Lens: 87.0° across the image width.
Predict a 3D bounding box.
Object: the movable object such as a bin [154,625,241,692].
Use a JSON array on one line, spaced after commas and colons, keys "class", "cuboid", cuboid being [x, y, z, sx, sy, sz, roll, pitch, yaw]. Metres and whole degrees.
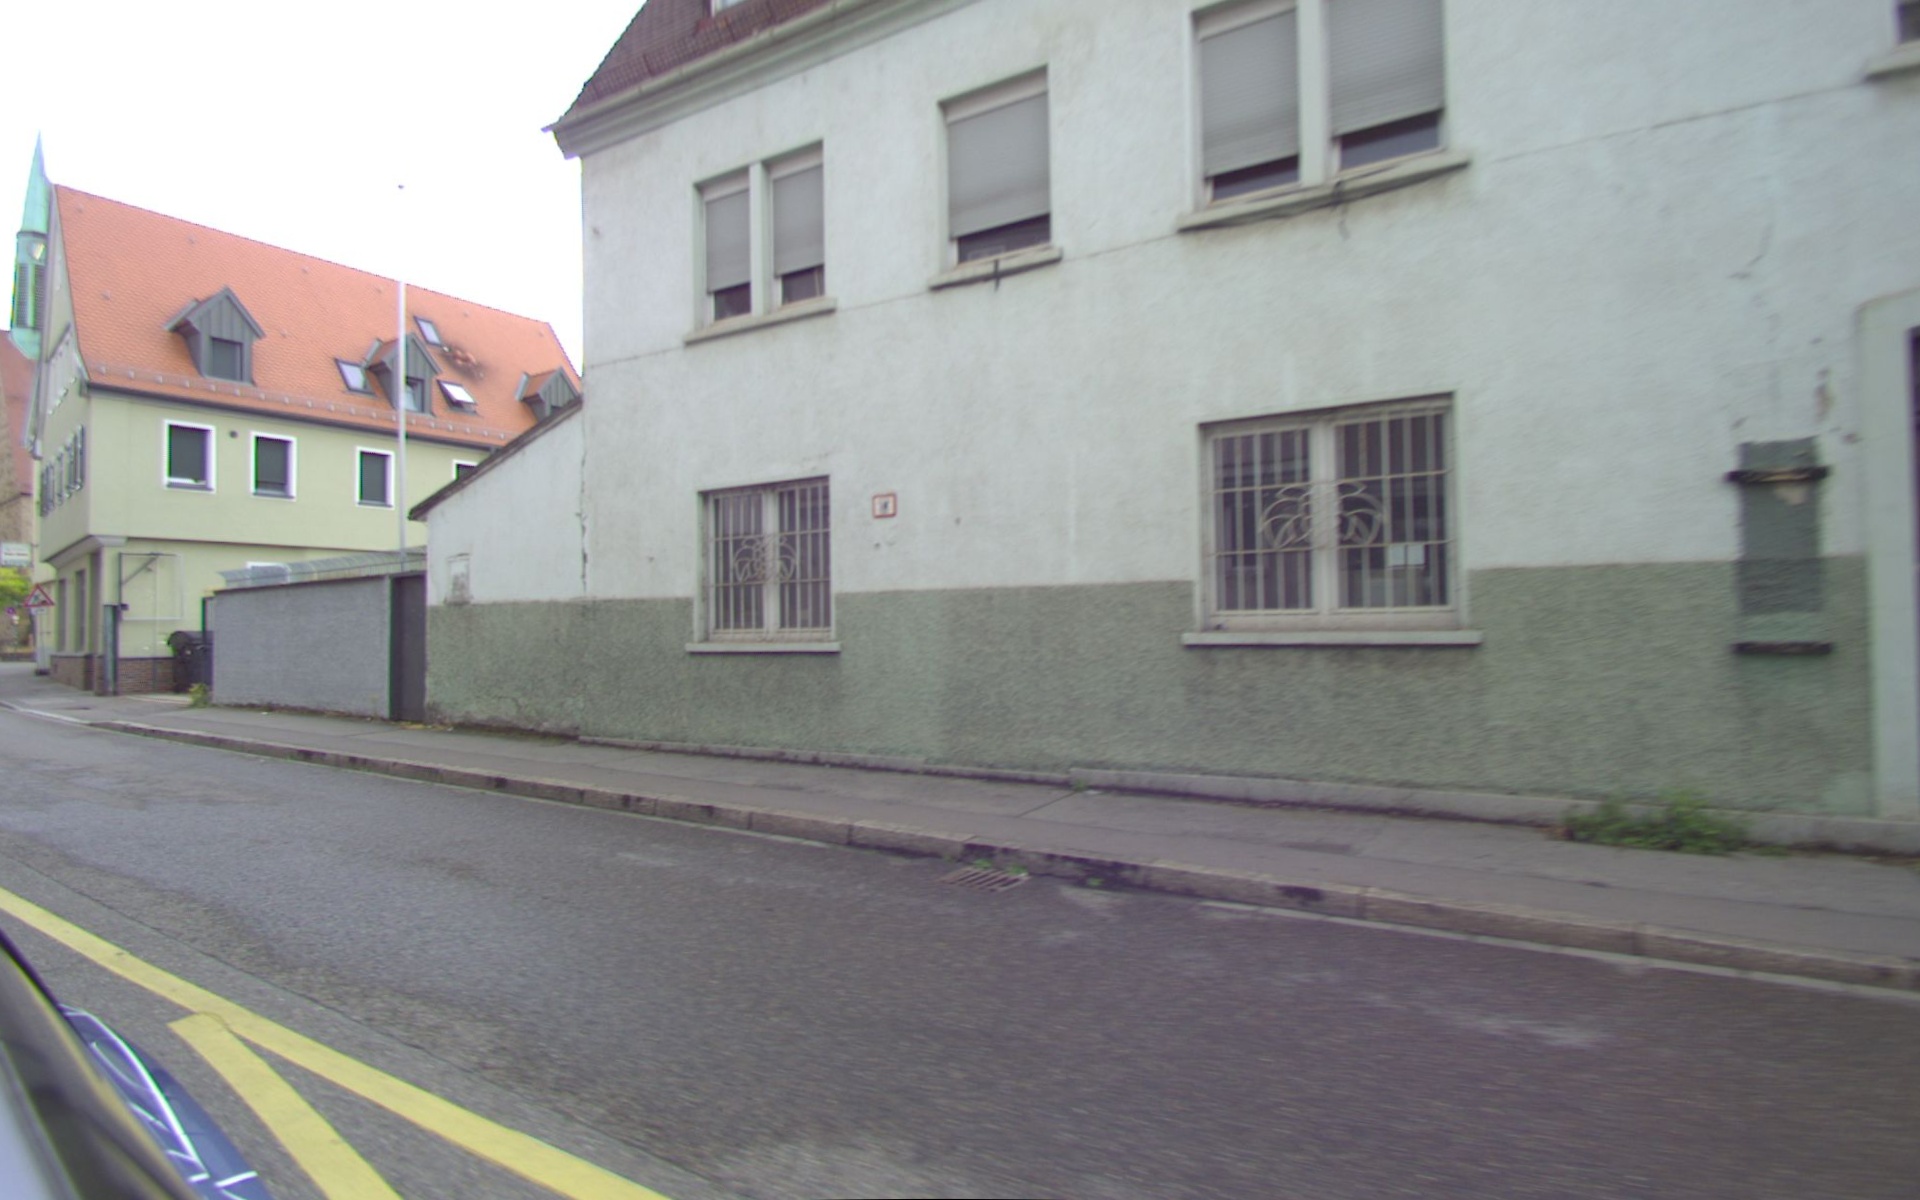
[{"class": "movable object such as a bin", "cuboid": [-17.805, 1.346, 23.651, 1.095, 1.487, 1.298, -2, -1, 29]}]
